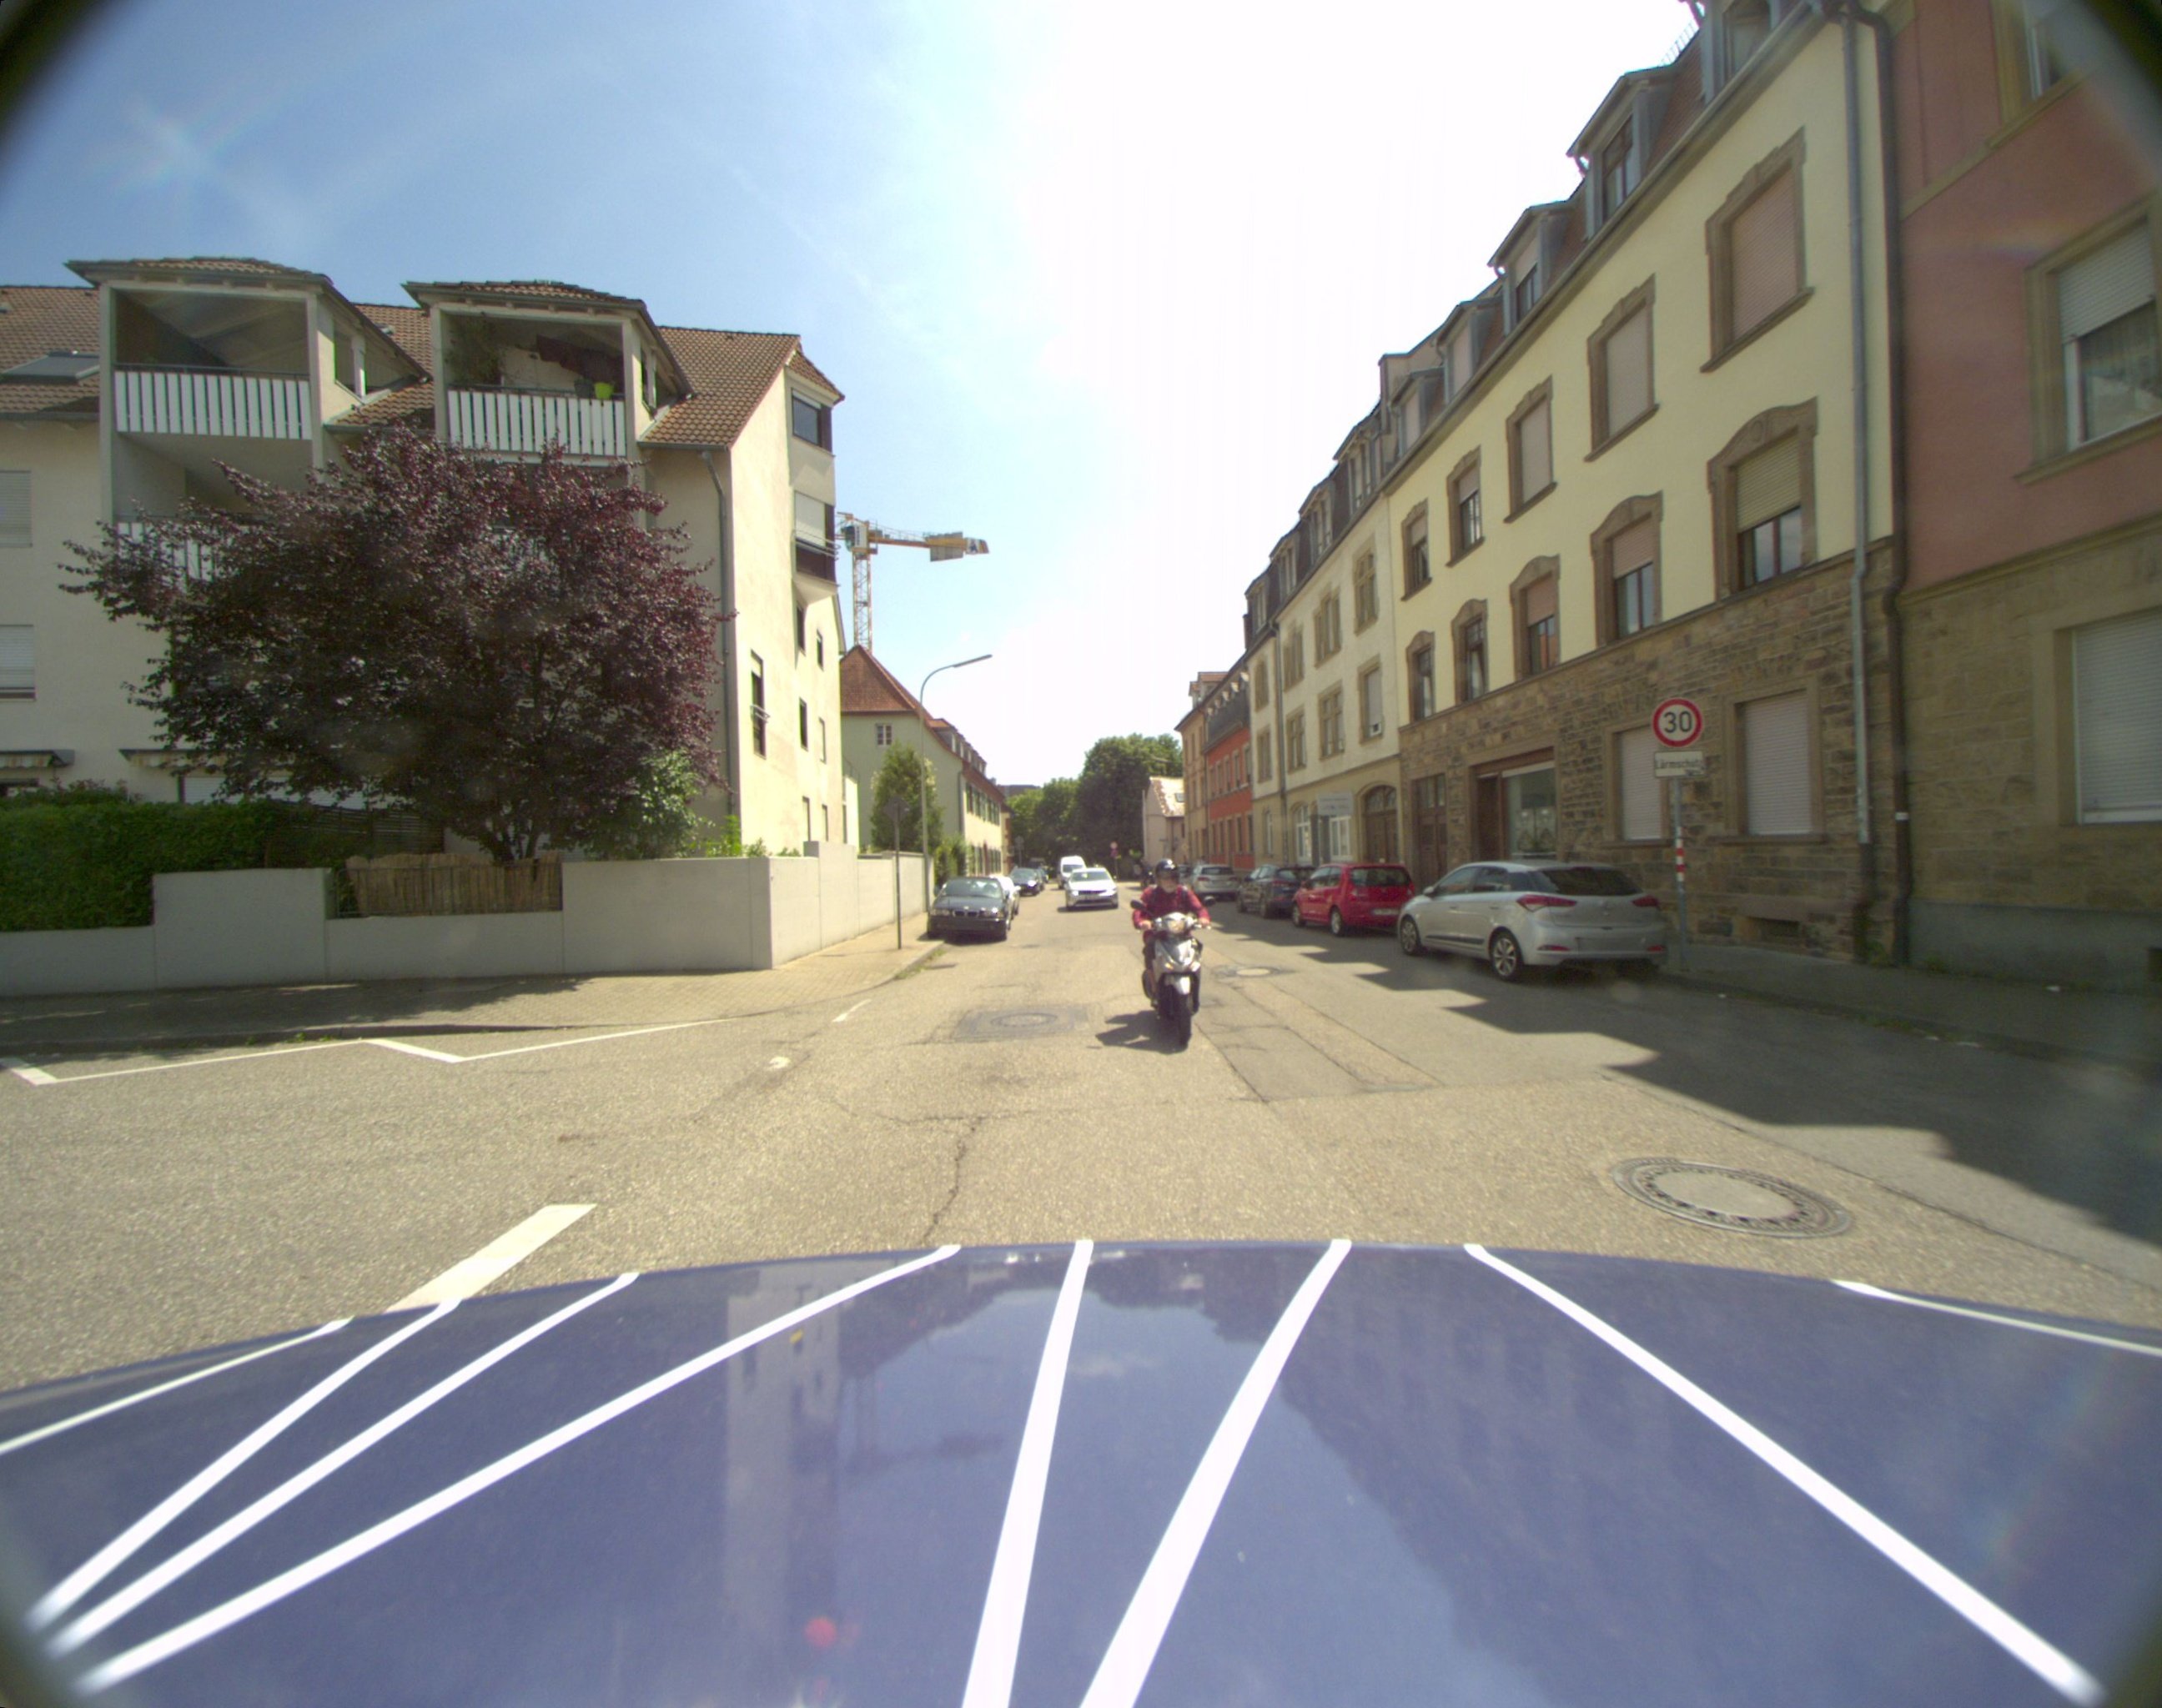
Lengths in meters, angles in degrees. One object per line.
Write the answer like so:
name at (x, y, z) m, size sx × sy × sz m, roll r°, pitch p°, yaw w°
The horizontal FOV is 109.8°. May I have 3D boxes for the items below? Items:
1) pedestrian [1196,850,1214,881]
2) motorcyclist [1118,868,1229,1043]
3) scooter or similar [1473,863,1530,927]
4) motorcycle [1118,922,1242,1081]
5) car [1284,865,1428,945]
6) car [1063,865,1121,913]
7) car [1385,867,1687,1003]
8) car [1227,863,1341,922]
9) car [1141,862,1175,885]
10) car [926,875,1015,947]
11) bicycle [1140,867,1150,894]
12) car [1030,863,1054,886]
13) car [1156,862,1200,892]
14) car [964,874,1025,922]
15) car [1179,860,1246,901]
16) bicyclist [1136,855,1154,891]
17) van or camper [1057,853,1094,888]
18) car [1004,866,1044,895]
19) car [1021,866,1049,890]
pedestrian at (7.311, 0.699, 44.760) m, size 0.770 × 1.760 × 0.763 m, roll -4°, pitch 0°, yaw -2°
motorcyclist at (0.807, 0.870, 6.943) m, size 0.793 × 1.431 × 1.020 m, roll -3°, pitch 0°, yaw -2°
scooter or similar at (8.475, 0.804, 15.350) m, size 0.375 × 1.213 × 1.319 m, roll -1°, pitch 0°, yaw -2°
motorcycle at (0.828, 1.245, 6.964) m, size 0.760 × 1.049 × 1.991 m, roll -3°, pitch 0°, yaw -2°
car at (5.662, 0.988, 16.086) m, size 1.603 × 1.433 × 3.494 m, roll -1°, pitch 0°, yaw -3°
car at (0.329, 1.187, 27.429) m, size 1.812 × 1.512 × 3.999 m, roll -3°, pitch 0°, yaw -2°
car at (5.796, 0.919, 10.332) m, size 1.639 × 1.423 × 4.018 m, roll -1°, pitch 0°, yaw -1°
car at (5.578, 1.007, 21.476) m, size 1.877 × 1.430 × 4.217 m, roll -2°, pitch 0°, yaw -3°
car at (5.240, 1.308, 52.232) m, size 1.732 × 1.433 × 3.856 m, roll -2°, pitch 0°, yaw -2°
car at (-2.488, 1.237, 17.950) m, size 1.661 × 1.368 × 4.238 m, roll -2°, pitch 0°, yaw -3°
bicycle at (3.104, 1.267, 36.927) m, size 0.229 × 1.268 × 1.882 m, roll 0°, pitch 0°, yaw -3°
car at (-3.820, 1.945, 74.397) m, size 1.999 × 2.002 × 4.000 m, roll -4°, pitch 0°, yaw 0°
car at (5.067, 1.183, 40.031) m, size 1.715 × 1.450 × 3.853 m, roll -1°, pitch 0°, yaw -2°
car at (-2.737, 1.367, 24.678) m, size 1.589 × 1.345 × 3.822 m, roll 0°, pitch 0°, yaw -1°
car at (5.312, 1.050, 31.229) m, size 1.883 × 1.501 × 4.381 m, roll -2°, pitch 0°, yaw -1°
bicyclist at (3.096, 0.908, 36.843) m, size 0.643 × 1.752 × 1.167 m, roll 0°, pitch 0°, yaw -5°
van or camper at (-0.441, 1.118, 53.261) m, size 1.999 × 2.273 × 5.142 m, roll -2°, pitch 0°, yaw -6°
car at (-3.146, 1.455, 42.930) m, size 1.851 × 1.506 × 4.000 m, roll -2°, pitch 0°, yaw 1°
car at (-3.149, 1.622, 52.562) m, size 1.651 × 1.489 × 4.000 m, roll -2°, pitch 0°, yaw 0°
